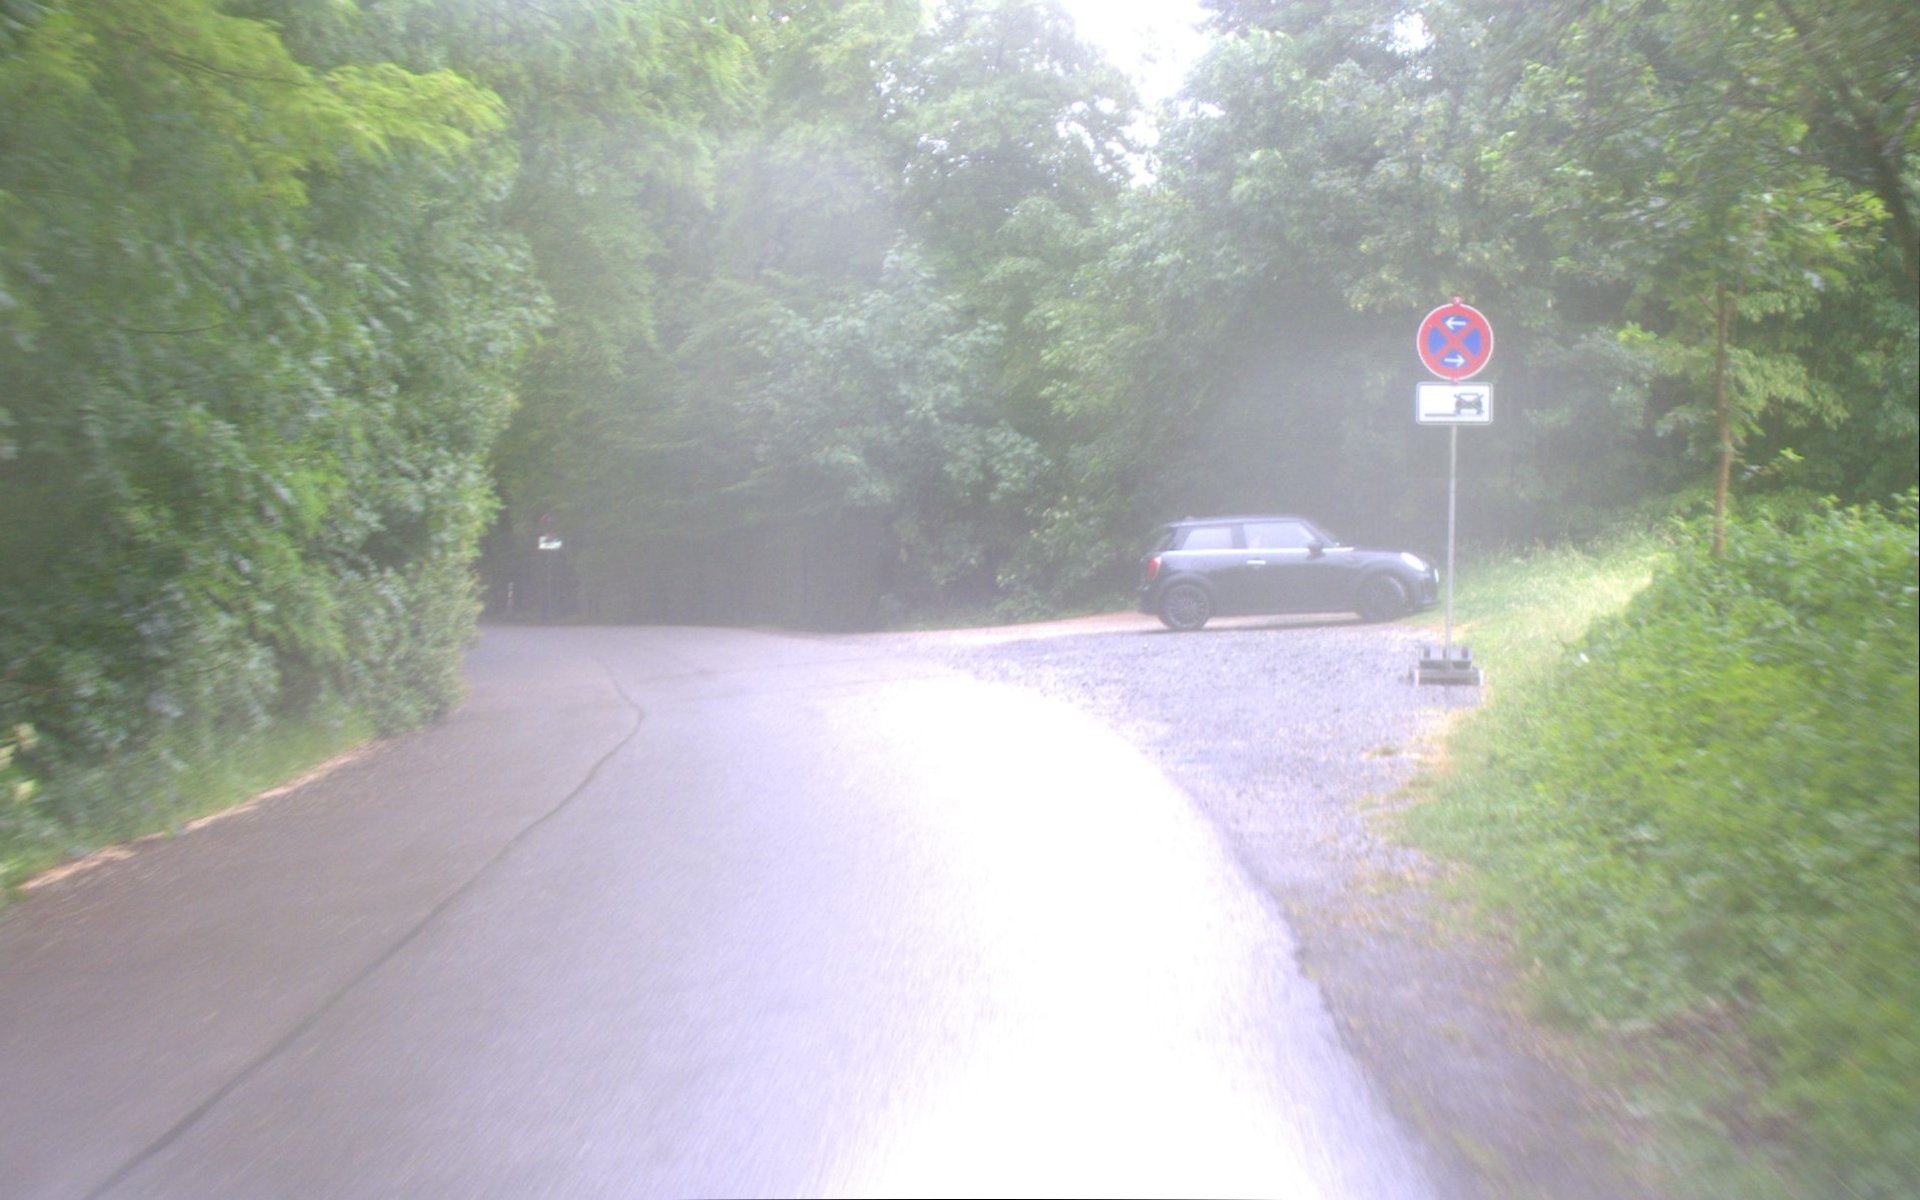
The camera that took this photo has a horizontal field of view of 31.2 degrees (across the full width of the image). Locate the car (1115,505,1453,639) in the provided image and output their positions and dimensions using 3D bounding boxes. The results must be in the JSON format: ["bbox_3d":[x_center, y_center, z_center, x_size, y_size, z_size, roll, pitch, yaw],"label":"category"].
[{"bbox_3d":[4.067,-0.370,43.693,3.987,1.386,2.000,-4,1,-1],"label":"car"}]
